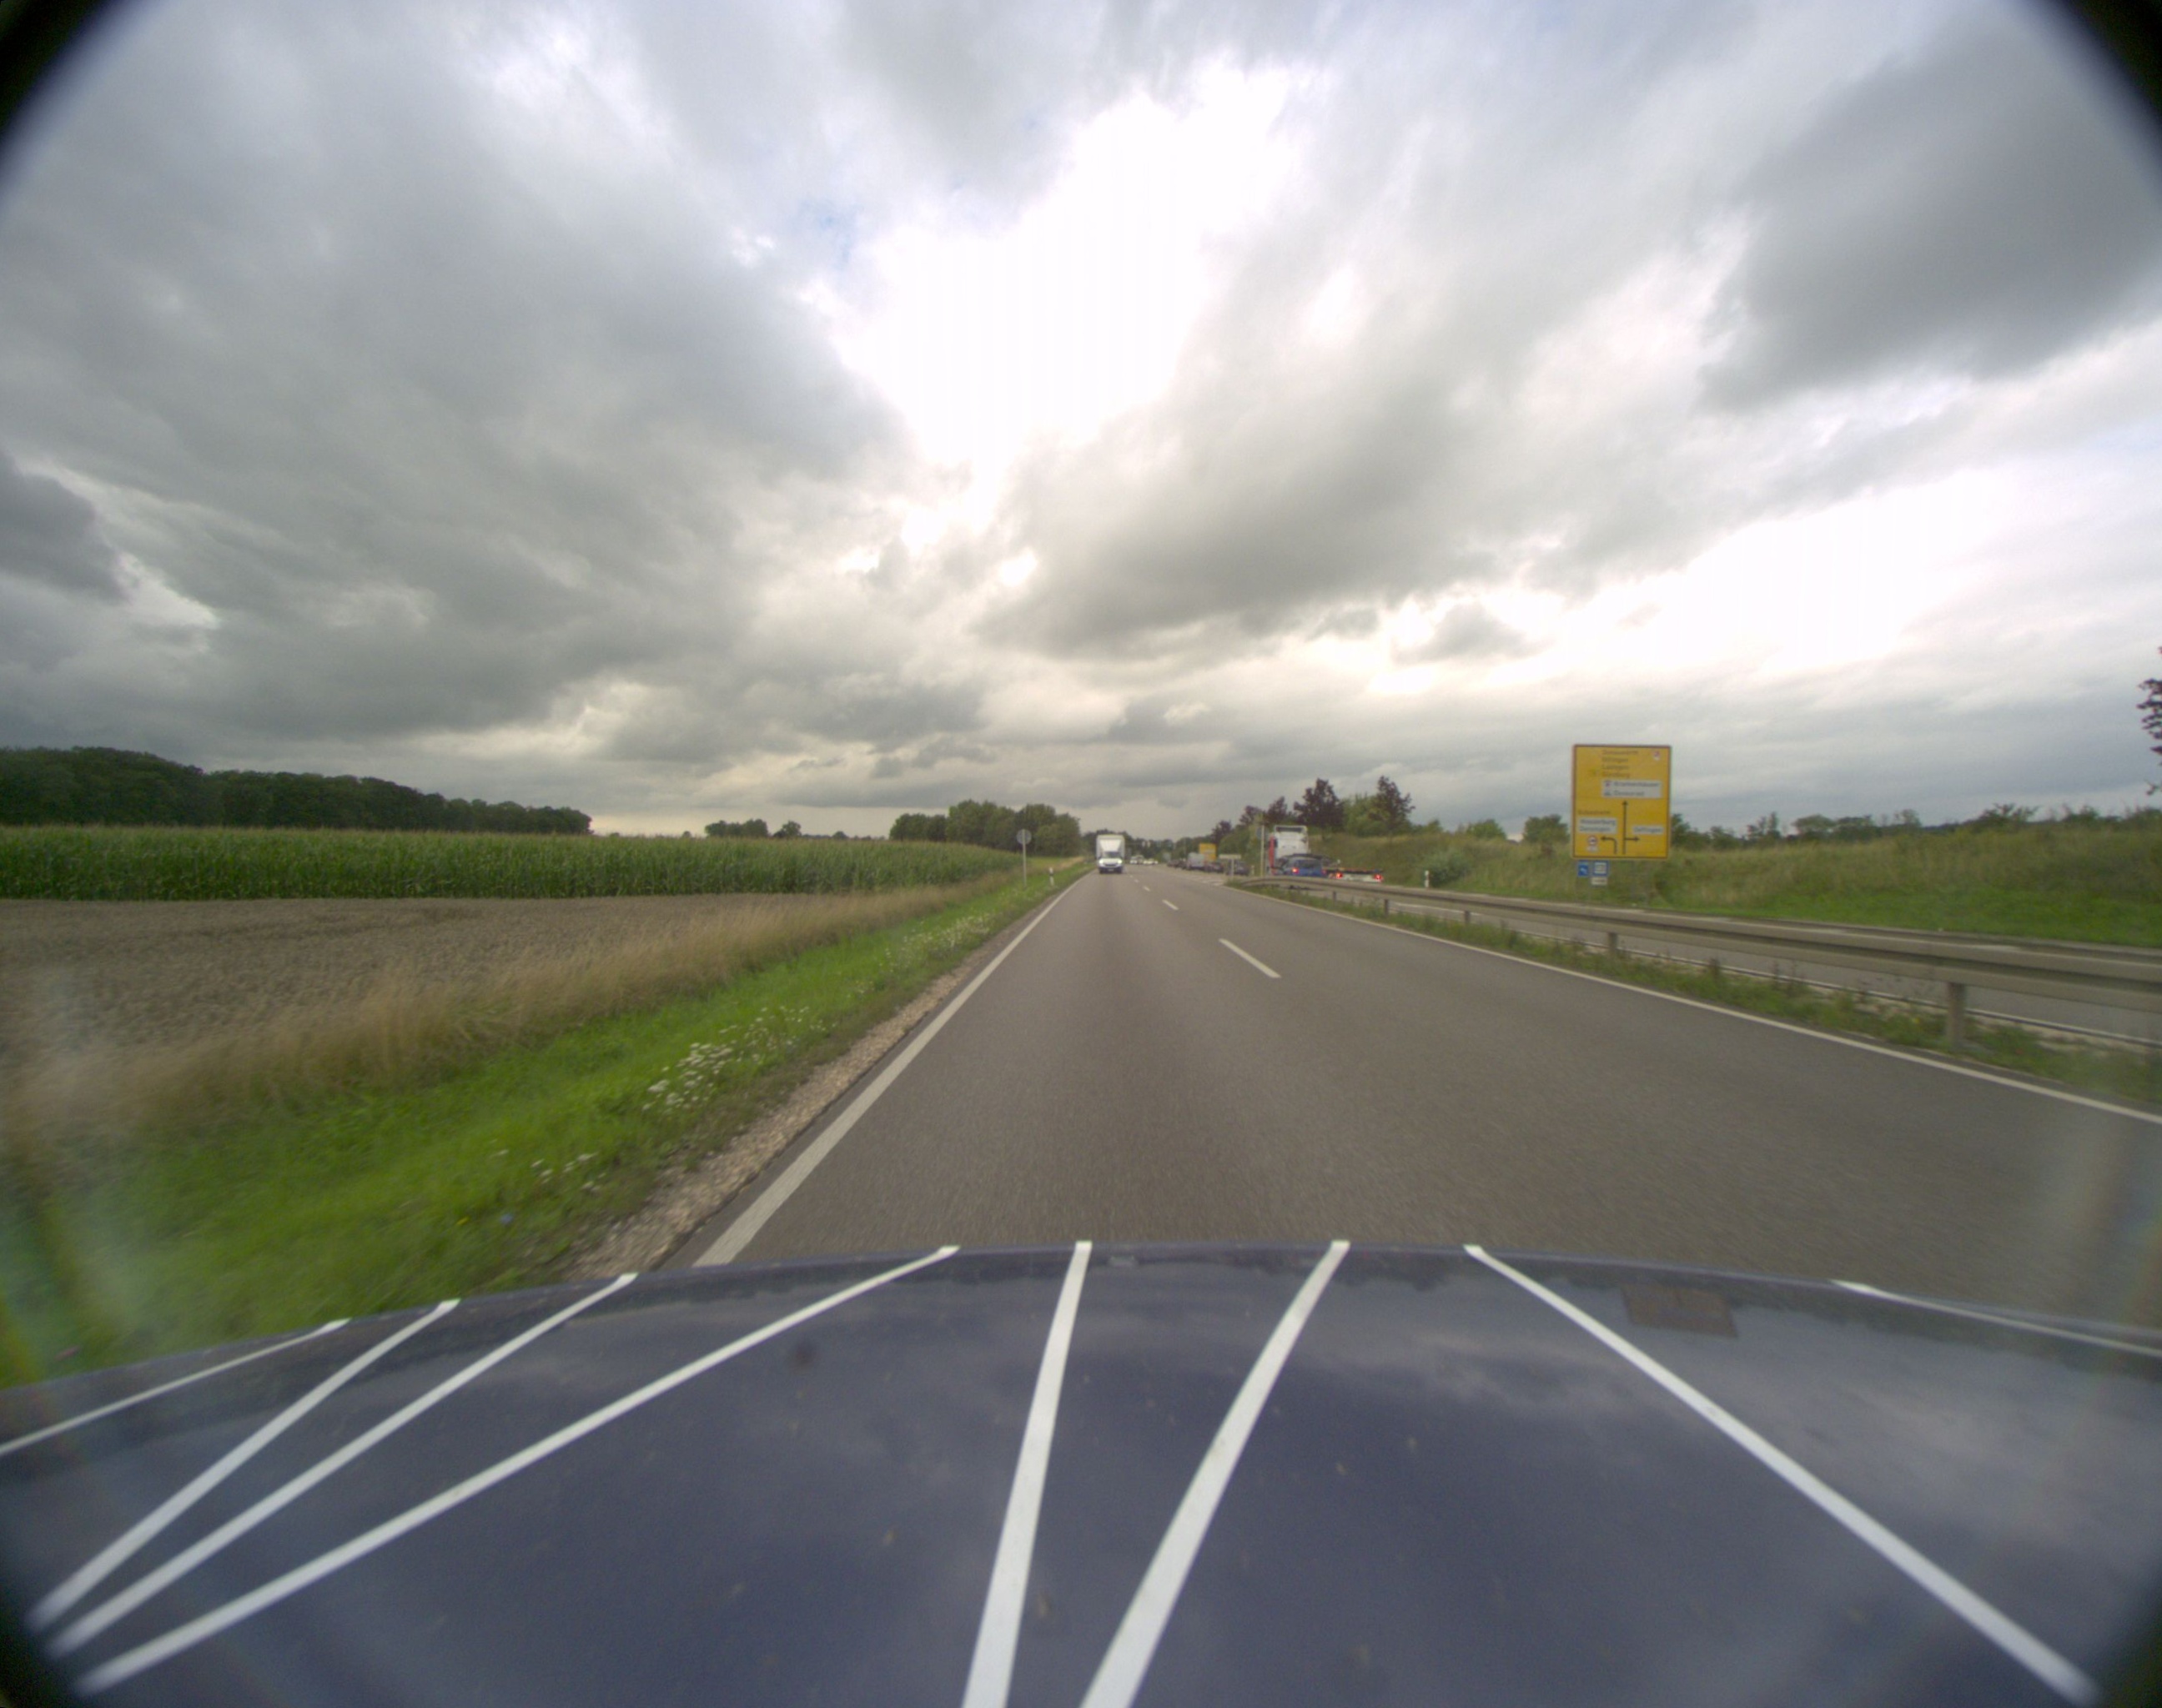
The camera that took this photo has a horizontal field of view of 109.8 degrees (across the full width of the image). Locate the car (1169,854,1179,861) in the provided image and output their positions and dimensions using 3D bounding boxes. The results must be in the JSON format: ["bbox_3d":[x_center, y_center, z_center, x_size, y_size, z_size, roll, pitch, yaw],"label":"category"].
[{"bbox_3d":[21.233,0.808,173.494,1.798,1.502,4.707,3,0,3],"label":"car"}]

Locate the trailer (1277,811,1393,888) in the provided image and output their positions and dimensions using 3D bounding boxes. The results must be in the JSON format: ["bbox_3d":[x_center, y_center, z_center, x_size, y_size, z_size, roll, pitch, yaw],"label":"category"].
[{"bbox_3d":[14.749,-0.201,45.642,2.782,3.924,12.986,0,0,1],"label":"trailer"}]

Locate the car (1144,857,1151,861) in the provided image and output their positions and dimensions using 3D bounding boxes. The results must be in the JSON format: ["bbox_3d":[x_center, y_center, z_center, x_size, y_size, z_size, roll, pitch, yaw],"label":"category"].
[{"bbox_3d":[20.574,1.529,234.334,1.859,1.274,4.002,2,0,6],"label":"car"}]

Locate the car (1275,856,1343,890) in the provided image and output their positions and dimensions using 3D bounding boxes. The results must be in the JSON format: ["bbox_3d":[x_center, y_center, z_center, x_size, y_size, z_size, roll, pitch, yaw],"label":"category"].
[{"bbox_3d":[10.681,0.856,35.931,2.091,1.510,4.194,0,0,2],"label":"car"}]

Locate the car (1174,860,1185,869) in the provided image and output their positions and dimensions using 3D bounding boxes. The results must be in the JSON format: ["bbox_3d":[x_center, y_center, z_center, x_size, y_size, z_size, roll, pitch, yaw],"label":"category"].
[{"bbox_3d":[18.909,1.966,146.049,1.798,1.624,4.517,3,0,3],"label":"car"}]

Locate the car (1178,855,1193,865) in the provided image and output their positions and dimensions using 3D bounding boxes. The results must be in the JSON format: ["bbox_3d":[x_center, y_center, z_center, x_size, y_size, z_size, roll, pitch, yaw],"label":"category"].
[{"bbox_3d":[16.290,0.967,118.417,1.736,1.521,4.194,2,0,1],"label":"car"}]

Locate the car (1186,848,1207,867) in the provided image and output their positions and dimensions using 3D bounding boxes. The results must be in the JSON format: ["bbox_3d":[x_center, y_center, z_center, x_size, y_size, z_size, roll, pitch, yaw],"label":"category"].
[{"bbox_3d":[15.859,0.524,104.850,2.038,2.425,5.636,2,0,1],"label":"car"}]

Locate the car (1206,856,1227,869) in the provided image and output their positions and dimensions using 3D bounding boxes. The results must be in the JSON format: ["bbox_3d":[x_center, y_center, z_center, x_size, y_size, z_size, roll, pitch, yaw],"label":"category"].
[{"bbox_3d":[15.818,0.978,88.740,1.736,1.521,4.549,2,0,1],"label":"car"}]

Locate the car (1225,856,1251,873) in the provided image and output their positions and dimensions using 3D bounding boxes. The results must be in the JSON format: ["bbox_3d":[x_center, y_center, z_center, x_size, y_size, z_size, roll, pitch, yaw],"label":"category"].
[{"bbox_3d":[15.201,1.008,73.793,1.736,1.521,4.194,2,0,1],"label":"car"}]

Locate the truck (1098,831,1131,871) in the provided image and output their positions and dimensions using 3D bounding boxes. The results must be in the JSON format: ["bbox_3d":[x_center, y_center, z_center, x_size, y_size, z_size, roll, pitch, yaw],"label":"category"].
[{"bbox_3d":[3.158,-0.247,72.565,2.934,3.652,8.444,0,0,2],"label":"truck"}]

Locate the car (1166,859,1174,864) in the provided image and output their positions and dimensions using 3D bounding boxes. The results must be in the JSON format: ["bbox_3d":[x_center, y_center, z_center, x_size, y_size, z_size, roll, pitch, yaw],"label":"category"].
[{"bbox_3d":[23.382,1.983,199.859,1.798,1.397,4.707,3,0,3],"label":"car"}]

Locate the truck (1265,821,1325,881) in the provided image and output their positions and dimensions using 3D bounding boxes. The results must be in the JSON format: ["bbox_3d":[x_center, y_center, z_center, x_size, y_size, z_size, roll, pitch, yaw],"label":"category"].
[{"bbox_3d":[14.874,-0.192,53.269,2.809,3.974,5.287,0,0,1],"label":"truck"}]
